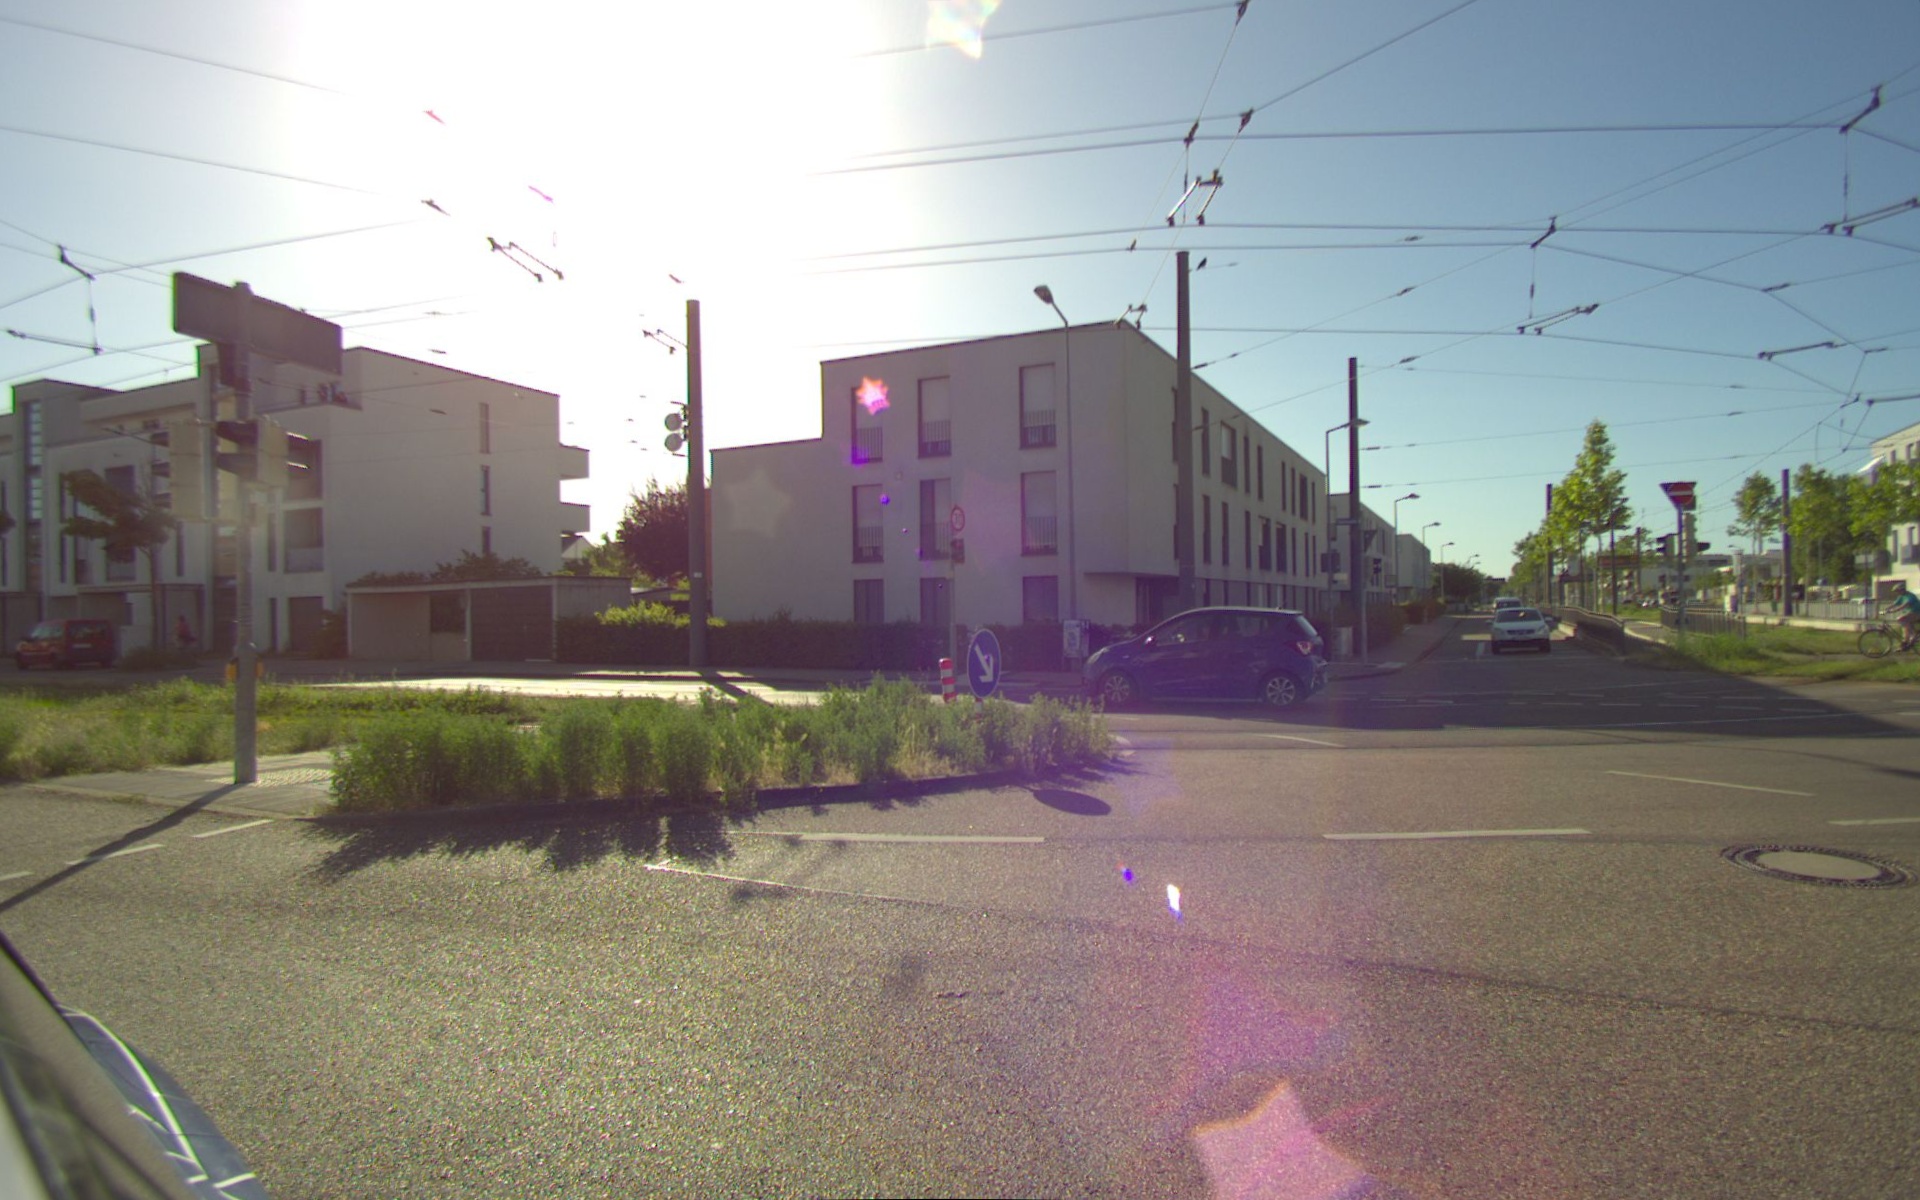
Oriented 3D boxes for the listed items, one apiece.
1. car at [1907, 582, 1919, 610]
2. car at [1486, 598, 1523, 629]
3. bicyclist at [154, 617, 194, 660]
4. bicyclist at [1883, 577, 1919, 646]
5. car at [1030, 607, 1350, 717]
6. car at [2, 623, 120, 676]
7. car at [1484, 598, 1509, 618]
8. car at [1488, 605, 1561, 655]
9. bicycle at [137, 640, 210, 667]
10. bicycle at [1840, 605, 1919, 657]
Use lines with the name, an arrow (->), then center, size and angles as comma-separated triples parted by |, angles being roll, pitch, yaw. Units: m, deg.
car -> 55.521, -0.235, 57.163 | 1.991, 1.564, 3.962 | -1, 1, 28
car -> 36.791, 0.909, 68.420 | 1.989, 2.029, 3.965 | -1, -1, 26
bicyclist -> -28.266, 1.384, 36.389 | 0.740, 1.502, 0.886 | -1, -1, 19
bicyclist -> 22.672, 0.278, 24.069 | 0.911, 1.604, 0.885 | -2, -1, 35
car -> 3.430, 0.884, 15.293 | 4.430, 1.467, 1.685 | -1, -1, 27
car -> -31.443, 1.709, 35.399 | 3.888, 1.736, 1.779 | -1, -2, 27
car -> 56.594, 0.819, 106.807 | 1.988, 2.029, 3.968 | -2, -1, 24
car -> 19.987, 1.025, 35.969 | 1.998, 1.678, 3.965 | -2, -1, 26
bicycle -> -28.262, 1.928, 36.370 | 2.465, 0.899, 0.896 | -2, -1, 20
bicycle -> 22.799, 0.734, 23.972 | 2.819, 1.207, 0.893 | -2, -1, 36
